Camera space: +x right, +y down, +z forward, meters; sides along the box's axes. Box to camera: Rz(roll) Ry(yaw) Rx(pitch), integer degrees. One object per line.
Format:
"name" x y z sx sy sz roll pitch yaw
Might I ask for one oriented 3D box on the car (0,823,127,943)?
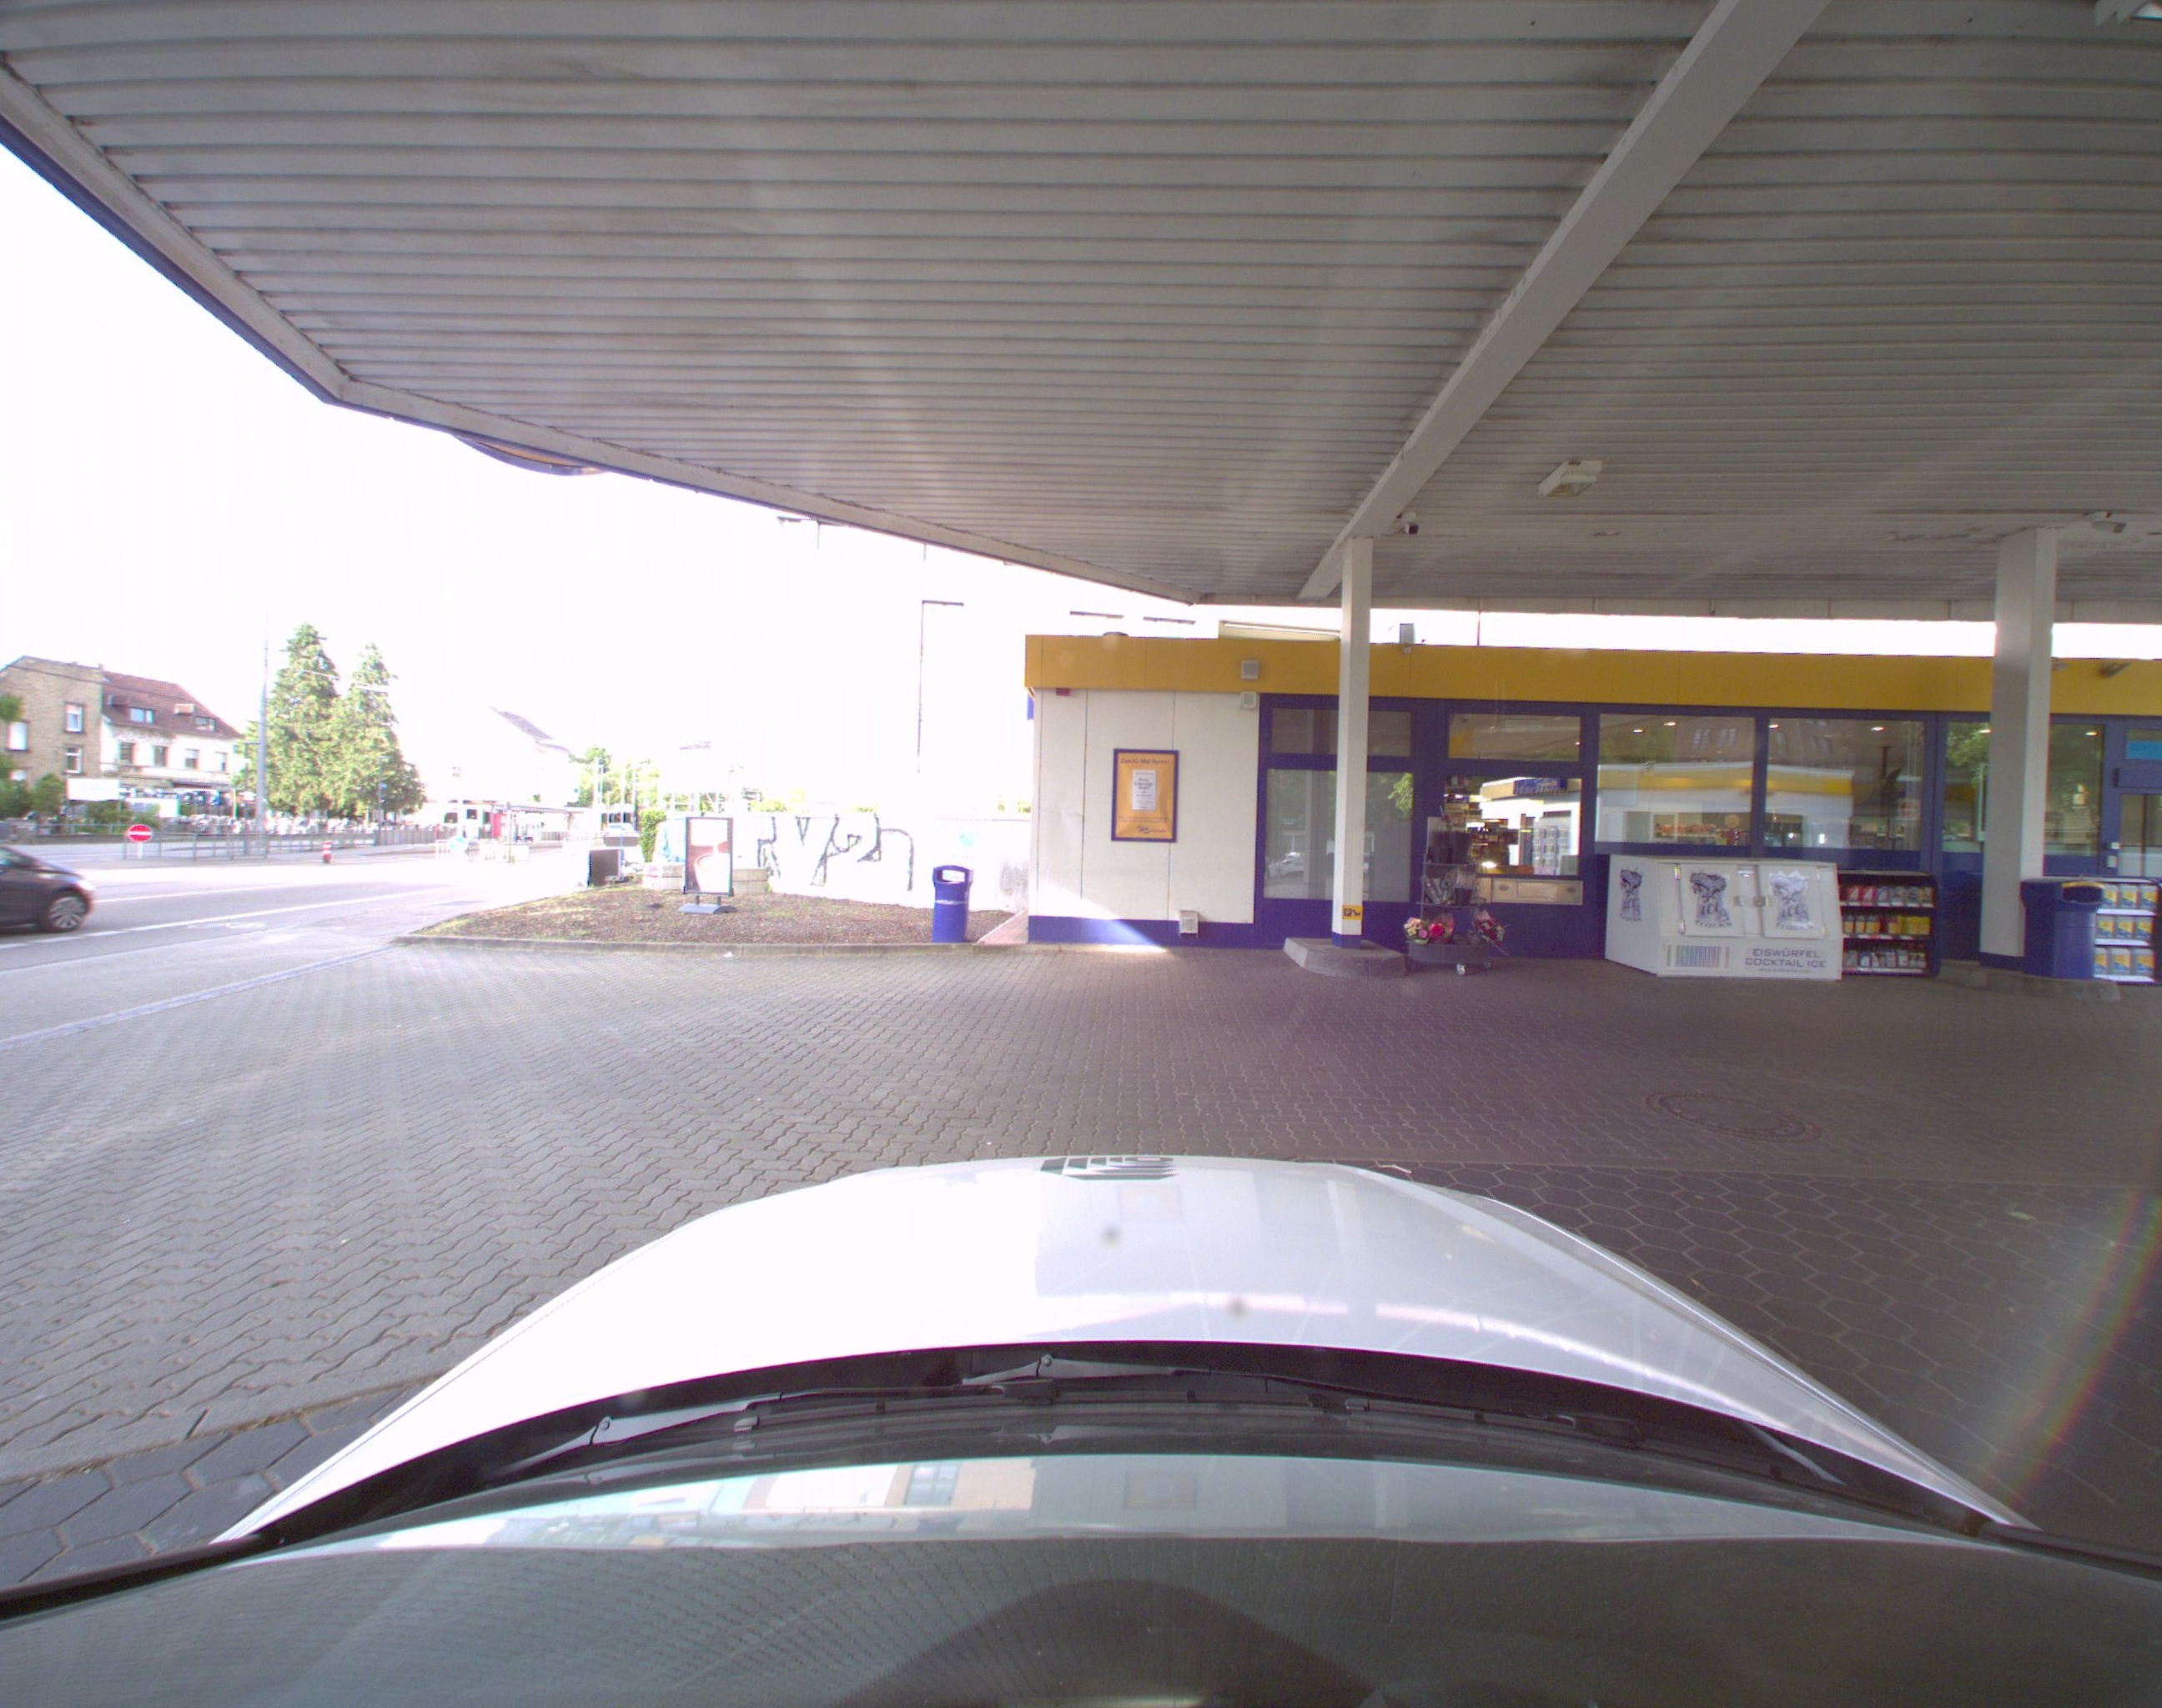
"car" -15.220 0.392 10.526 1.728 1.542 3.981 2 1 -15

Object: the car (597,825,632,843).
"car" -50.782 -2.190 88.774 1.963 1.889 4.395 1 0 -11
